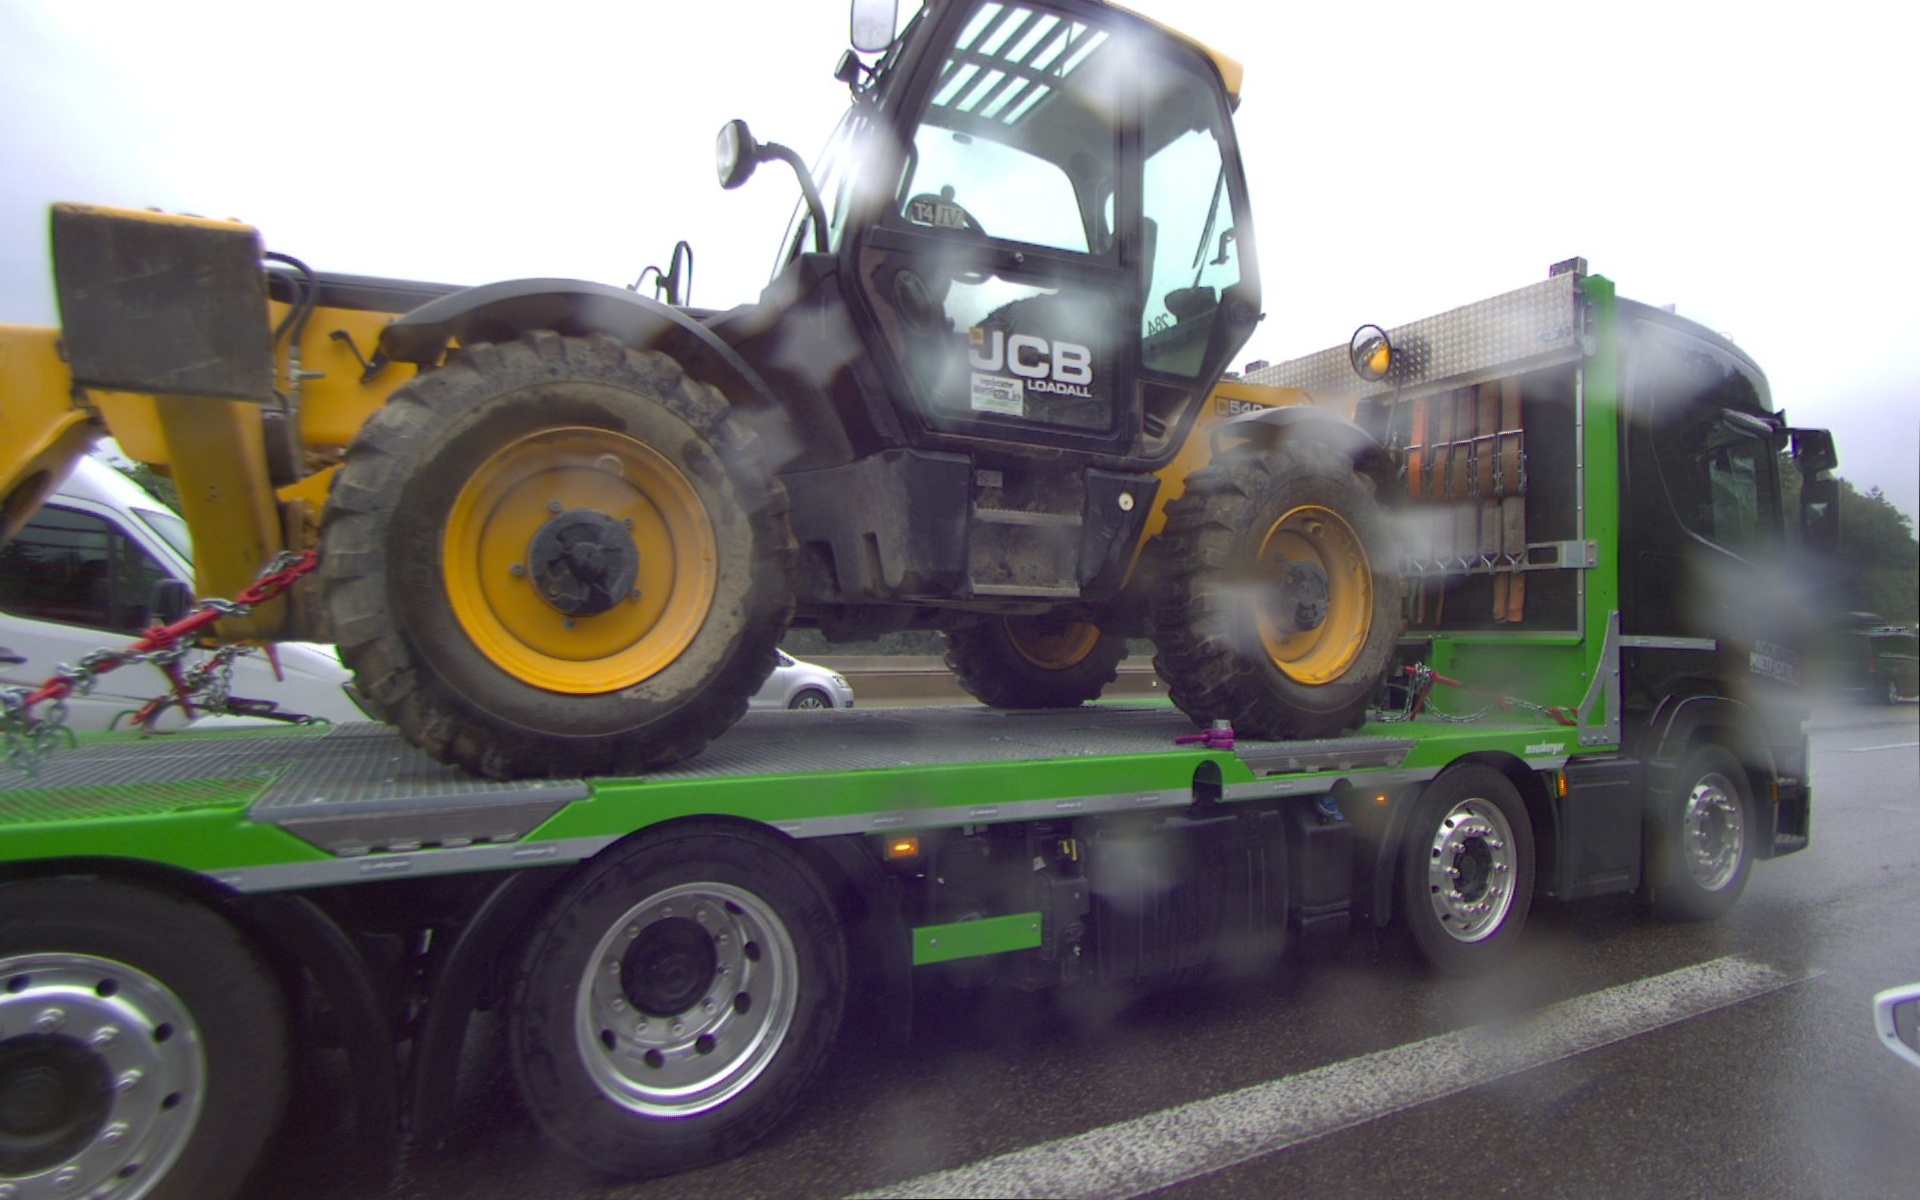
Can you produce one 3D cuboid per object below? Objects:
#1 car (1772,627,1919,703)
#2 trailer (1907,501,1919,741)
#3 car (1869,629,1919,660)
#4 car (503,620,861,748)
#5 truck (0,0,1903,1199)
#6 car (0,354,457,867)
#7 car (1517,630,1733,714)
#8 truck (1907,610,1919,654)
[{"bbox_3d":[23.205,1.653,26.110,4.106,1.822,1.984,2,-2,-31],"label":"car"},{"bbox_3d":[18.272,0.383,15.304,9.958,3.332,2.861,2,-2,-30],"label":"trailer"},{"bbox_3d":[64.389,3.081,68.484,5.186,1.903,2.042,4,0,-30],"label":"car"},{"bbox_3d":[-4.222,1.213,15.546,5.022,1.706,1.985,2,-3,-30],"label":"car"},{"bbox_3d":[-0.378,-0.342,4.242,11.652,3.635,2.820,2,-3,-29],"label":"truck"},{"bbox_3d":[-6.198,0.045,5.836,5.769,2.664,2.207,2,-2,-27],"label":"car"},{"bbox_3d":[14.234,1.481,21.440,4.752,1.615,1.984,2,-2,-31],"label":"car"},{"bbox_3d":[92.490,3.066,94.898,7.153,4.001,2.439,2,-1,-30],"label":"truck"}]
